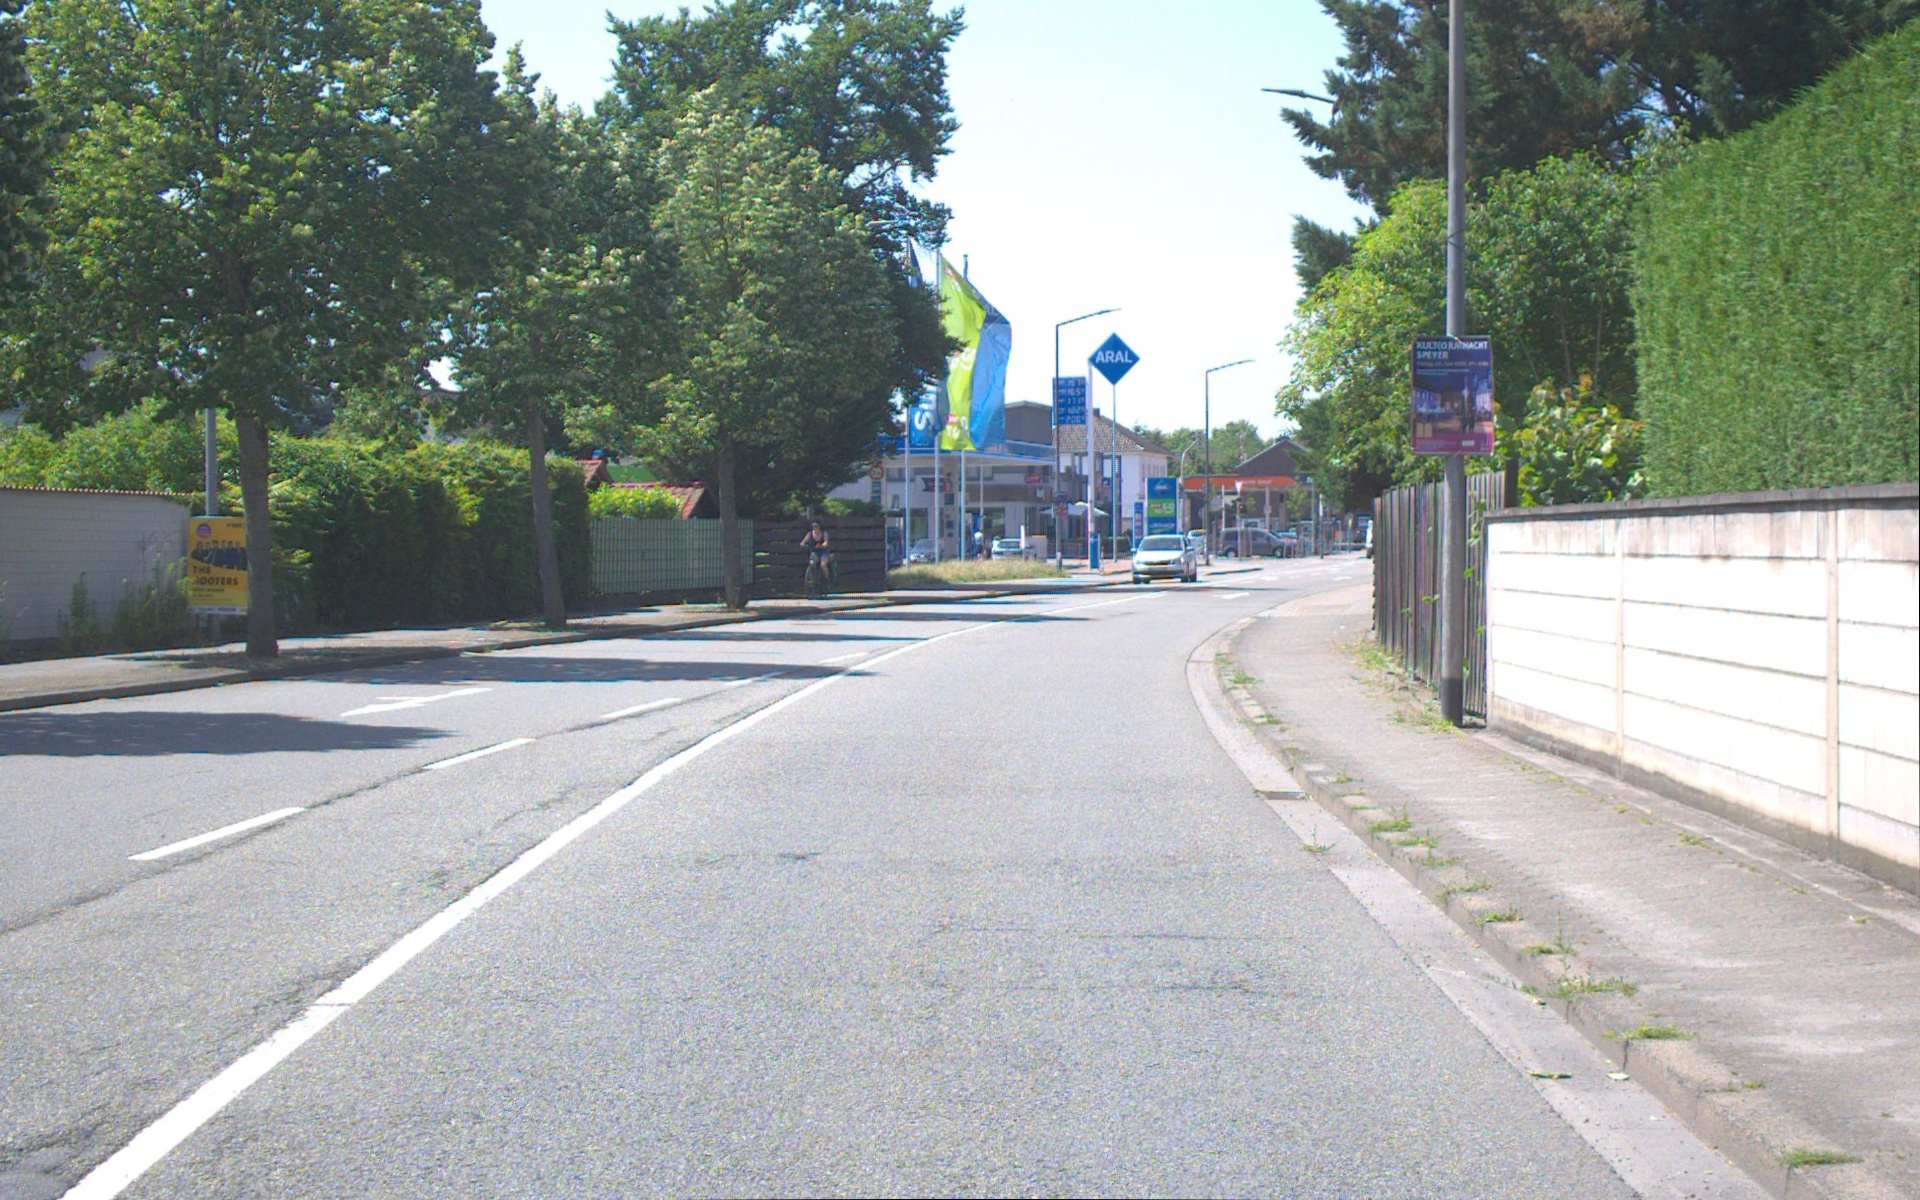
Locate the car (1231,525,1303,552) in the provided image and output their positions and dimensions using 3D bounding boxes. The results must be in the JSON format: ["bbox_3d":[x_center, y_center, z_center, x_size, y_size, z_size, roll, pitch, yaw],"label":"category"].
[{"bbox_3d":[17.340,-3.467,194.102,3.988,1.503,1.554,0,1,9],"label":"car"}]

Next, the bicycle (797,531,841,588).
[{"bbox_3d":[-2.966,-0.869,72.414,0.632,1.176,1.815,0,1,7],"label":"bicycle"}]

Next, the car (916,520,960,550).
[{"bbox_3d":[-1.053,-3.156,166.259,1.617,1.415,3.711,-1,1,7],"label":"car"}]

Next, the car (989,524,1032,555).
[{"bbox_3d":[2.463,-2.935,166.170,1.617,1.415,3.711,-1,1,7],"label":"car"}]

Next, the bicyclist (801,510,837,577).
[{"bbox_3d":[-2.969,-1.194,72.396,0.628,1.404,0.676,0,1,7],"label":"bicyclist"}]

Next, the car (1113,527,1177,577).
[{"bbox_3d":[5.620,-1.478,104.118,1.612,1.477,3.706,1,1,8],"label":"car"}]

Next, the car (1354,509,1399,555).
[{"bbox_3d":[23.987,-3.894,197.944,1.994,2.414,5.944,2,0,12],"label":"car"}]
